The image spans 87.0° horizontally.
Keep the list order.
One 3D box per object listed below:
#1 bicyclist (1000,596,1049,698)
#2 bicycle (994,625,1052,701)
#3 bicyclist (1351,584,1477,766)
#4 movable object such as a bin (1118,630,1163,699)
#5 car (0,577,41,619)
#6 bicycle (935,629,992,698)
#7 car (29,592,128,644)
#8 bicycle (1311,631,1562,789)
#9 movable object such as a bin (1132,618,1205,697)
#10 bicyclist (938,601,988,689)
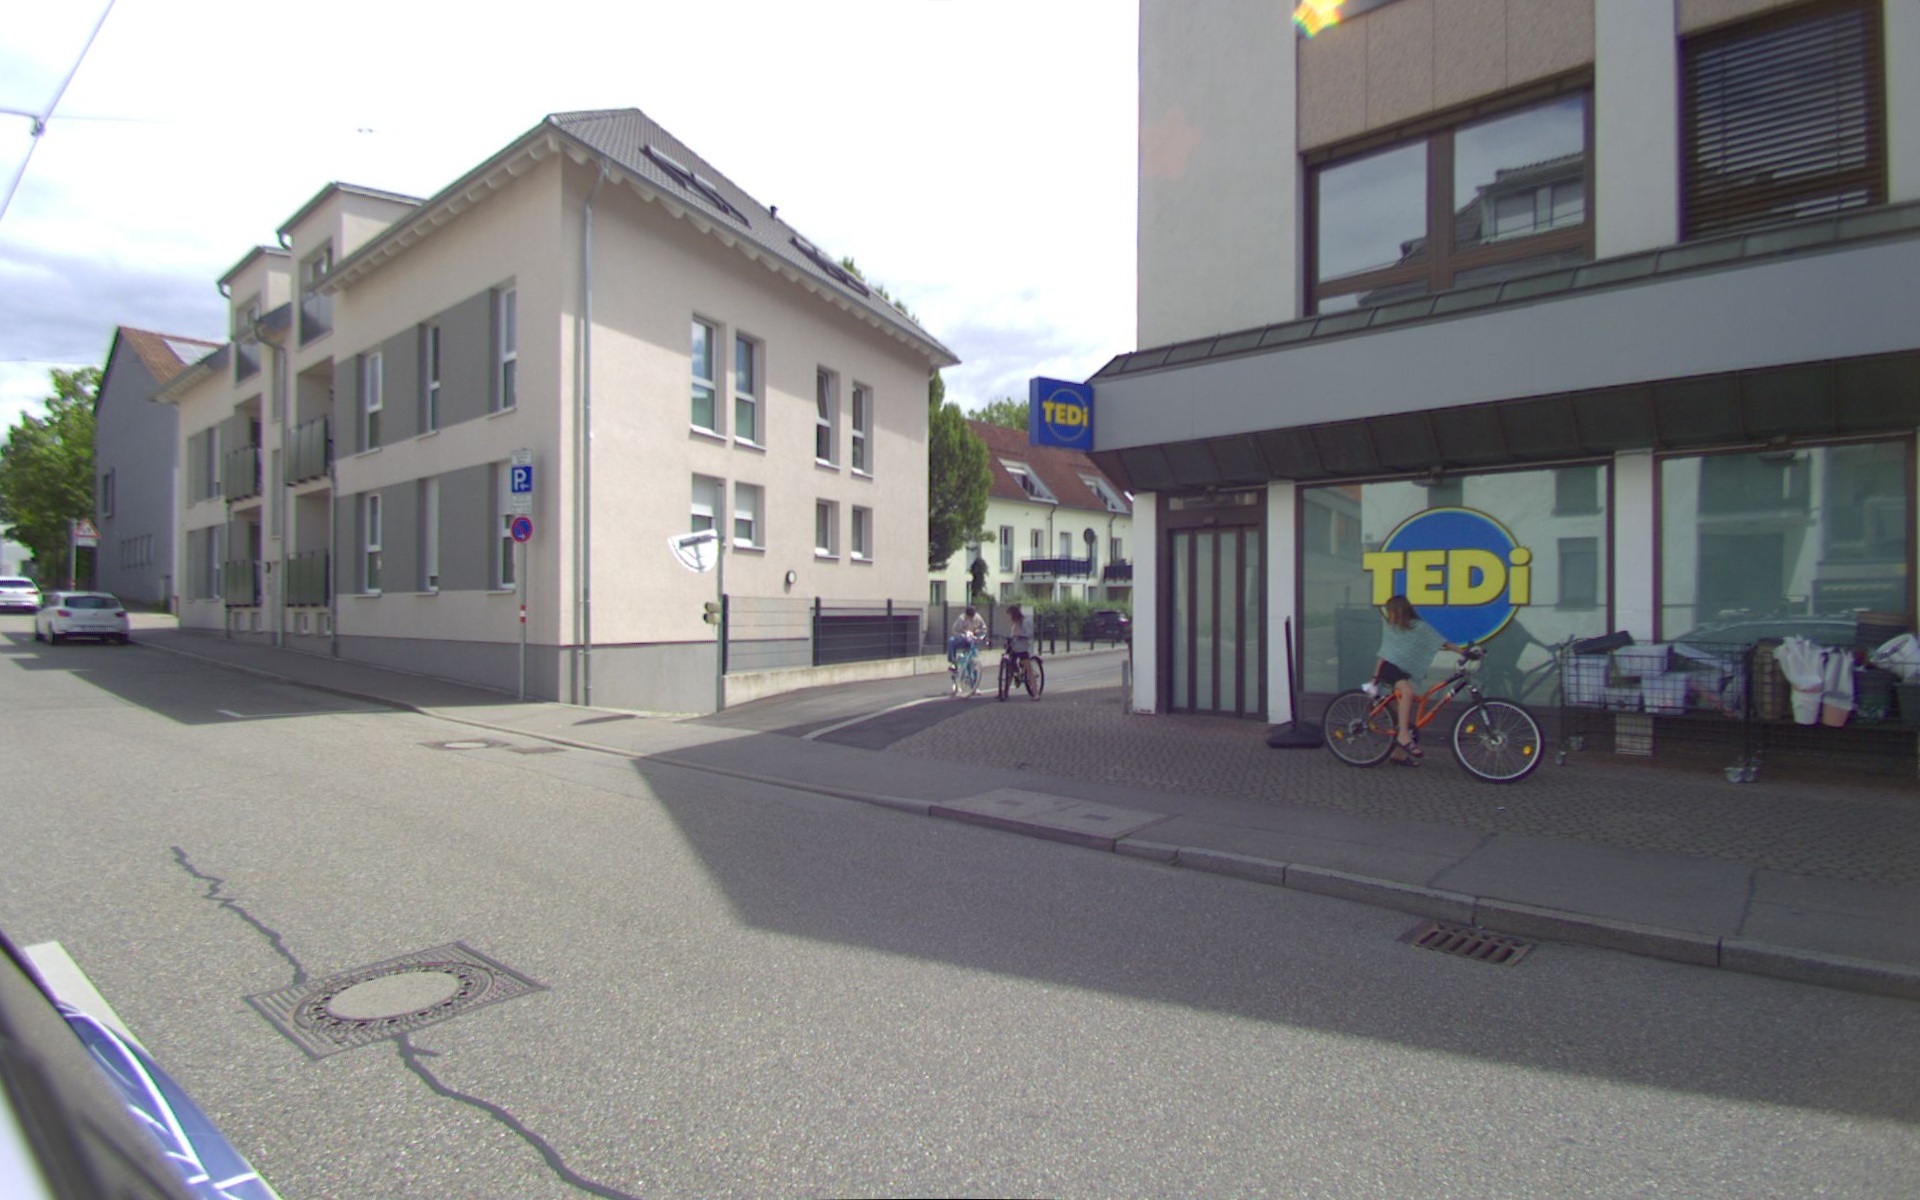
[{"bbox_3d":[0.900,0.651,14.082,0.583,1.376,0.423,-2,-2,12],"label":"bicyclist"},{"bbox_3d":[0.902,0.848,14.090,0.549,0.961,1.685,-1,-1,12],"label":"bicycle"},{"bbox_3d":[3.637,0.559,8.105,0.761,1.347,0.660,0,3,41],"label":"bicyclist"},{"bbox_3d":[2.476,0.875,13.888,0.443,0.918,0.403,-3,-2,41],"label":"movable object such as a bin"},{"bbox_3d":[-37.818,-0.122,40.028,4.066,1.499,1.714,3,0,42],"label":"car"},{"bbox_3d":[0.025,0.897,14.700,0.451,0.924,1.594,-1,-1,-13],"label":"bicycle"},{"bbox_3d":[-24.400,0.485,27.983,3.473,1.340,1.643,0,-2,42],"label":"car"},{"bbox_3d":[3.710,0.810,7.985,1.733,1.058,0.439,0,3,41],"label":"bicycle"},{"bbox_3d":[2.959,0.808,14.384,0.737,1.073,0.677,-4,-2,41],"label":"movable object such as a bin"},{"bbox_3d":[0.045,0.645,14.747,0.631,1.251,0.428,0,0,-16],"label":"bicyclist"}]
